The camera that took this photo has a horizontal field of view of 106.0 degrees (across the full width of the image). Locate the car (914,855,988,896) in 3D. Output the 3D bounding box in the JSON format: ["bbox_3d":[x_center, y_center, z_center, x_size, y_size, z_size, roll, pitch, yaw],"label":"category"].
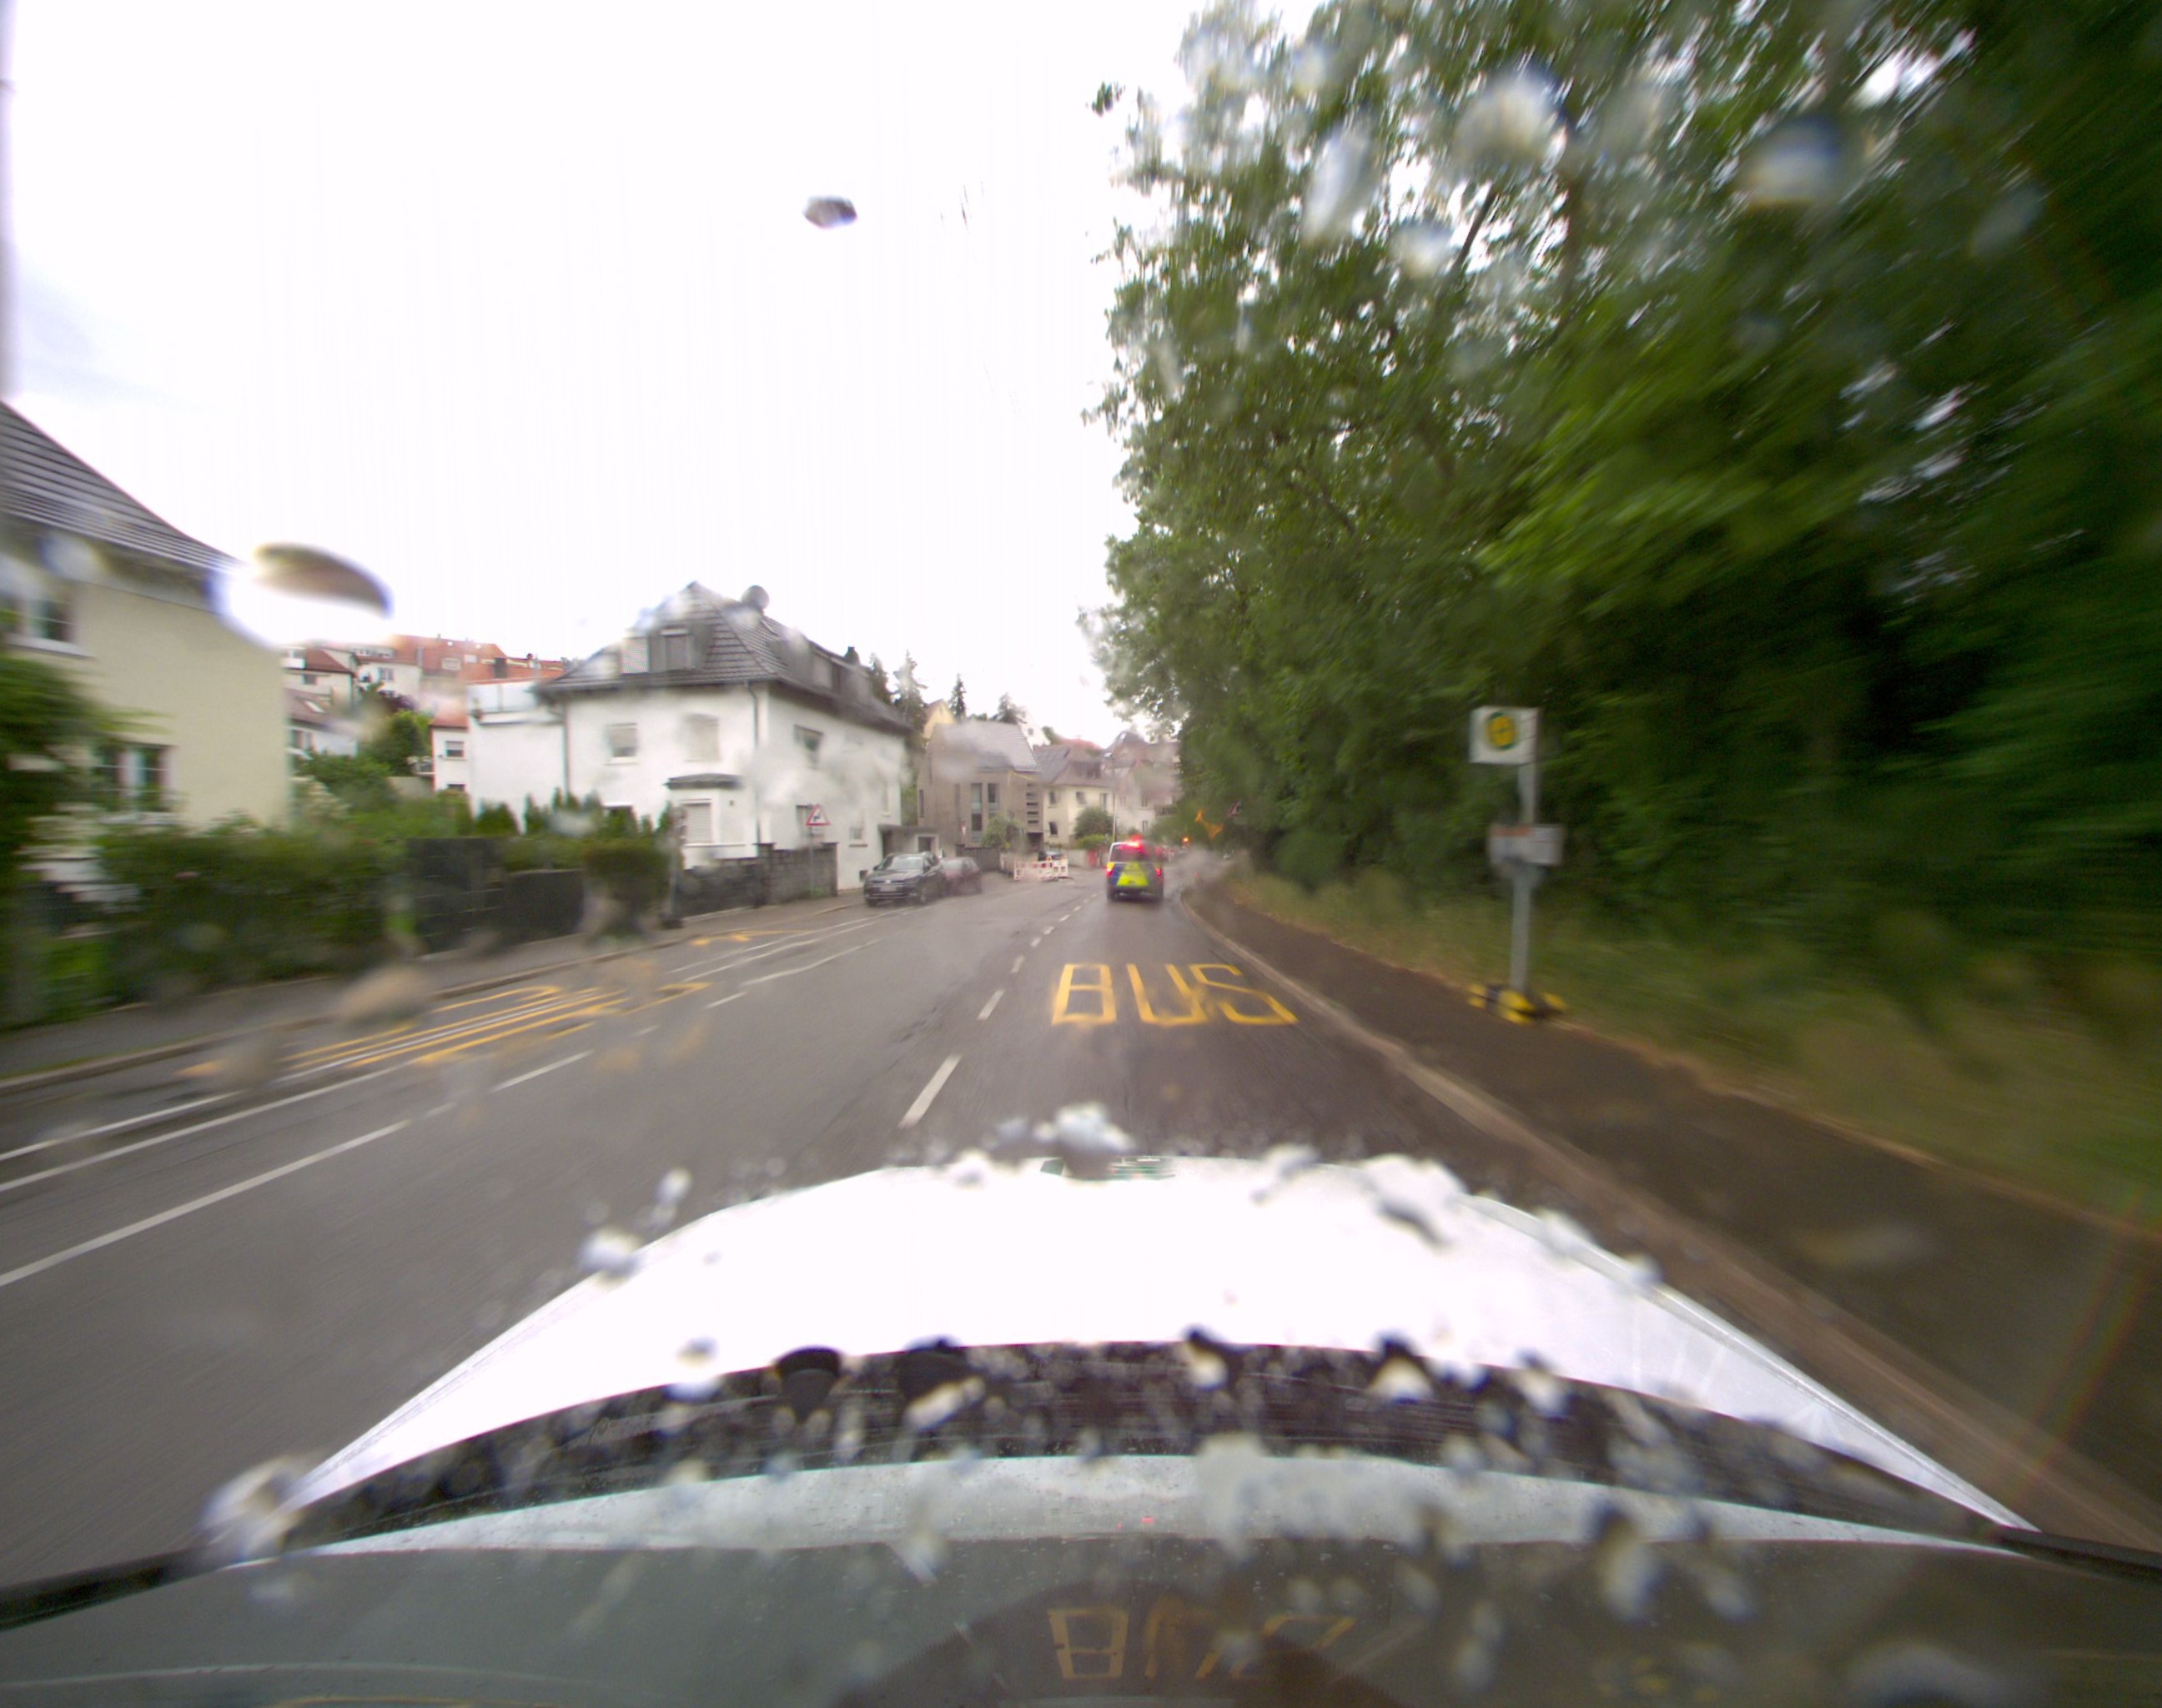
[{"bbox_3d":[-5.012,0.789,31.907,1.607,1.440,4.241,-1,1,9],"label":"car"}]

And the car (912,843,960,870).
[{"bbox_3d":[-8.239,0.119,46.607,1.767,1.464,3.622,-1,0,5],"label":"car"}]

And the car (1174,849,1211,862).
[{"bbox_3d":[13.608,0.227,99.406,3.949,1.486,1.770,1,-2,31],"label":"car"}]

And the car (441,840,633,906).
[{"bbox_3d":[-14.565,0.515,21.942,3.970,1.596,1.736,2,-1,3],"label":"car"}]

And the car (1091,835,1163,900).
[{"bbox_3d":[1.510,0.413,28.305,1.989,2.013,4.398,-2,1,-2],"label":"car"}]

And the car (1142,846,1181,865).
[{"bbox_3d":[9.005,0.172,90.818,3.948,2.013,1.842,0,0,32],"label":"car"}]

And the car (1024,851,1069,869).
[{"bbox_3d":[-2.892,0.459,67.796,1.848,1.443,3.956,-1,1,-37],"label":"car"}]

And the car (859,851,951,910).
[{"bbox_3d":[-5.607,0.777,26.510,1.747,1.658,4.408,-3,0,3],"label":"car"}]
